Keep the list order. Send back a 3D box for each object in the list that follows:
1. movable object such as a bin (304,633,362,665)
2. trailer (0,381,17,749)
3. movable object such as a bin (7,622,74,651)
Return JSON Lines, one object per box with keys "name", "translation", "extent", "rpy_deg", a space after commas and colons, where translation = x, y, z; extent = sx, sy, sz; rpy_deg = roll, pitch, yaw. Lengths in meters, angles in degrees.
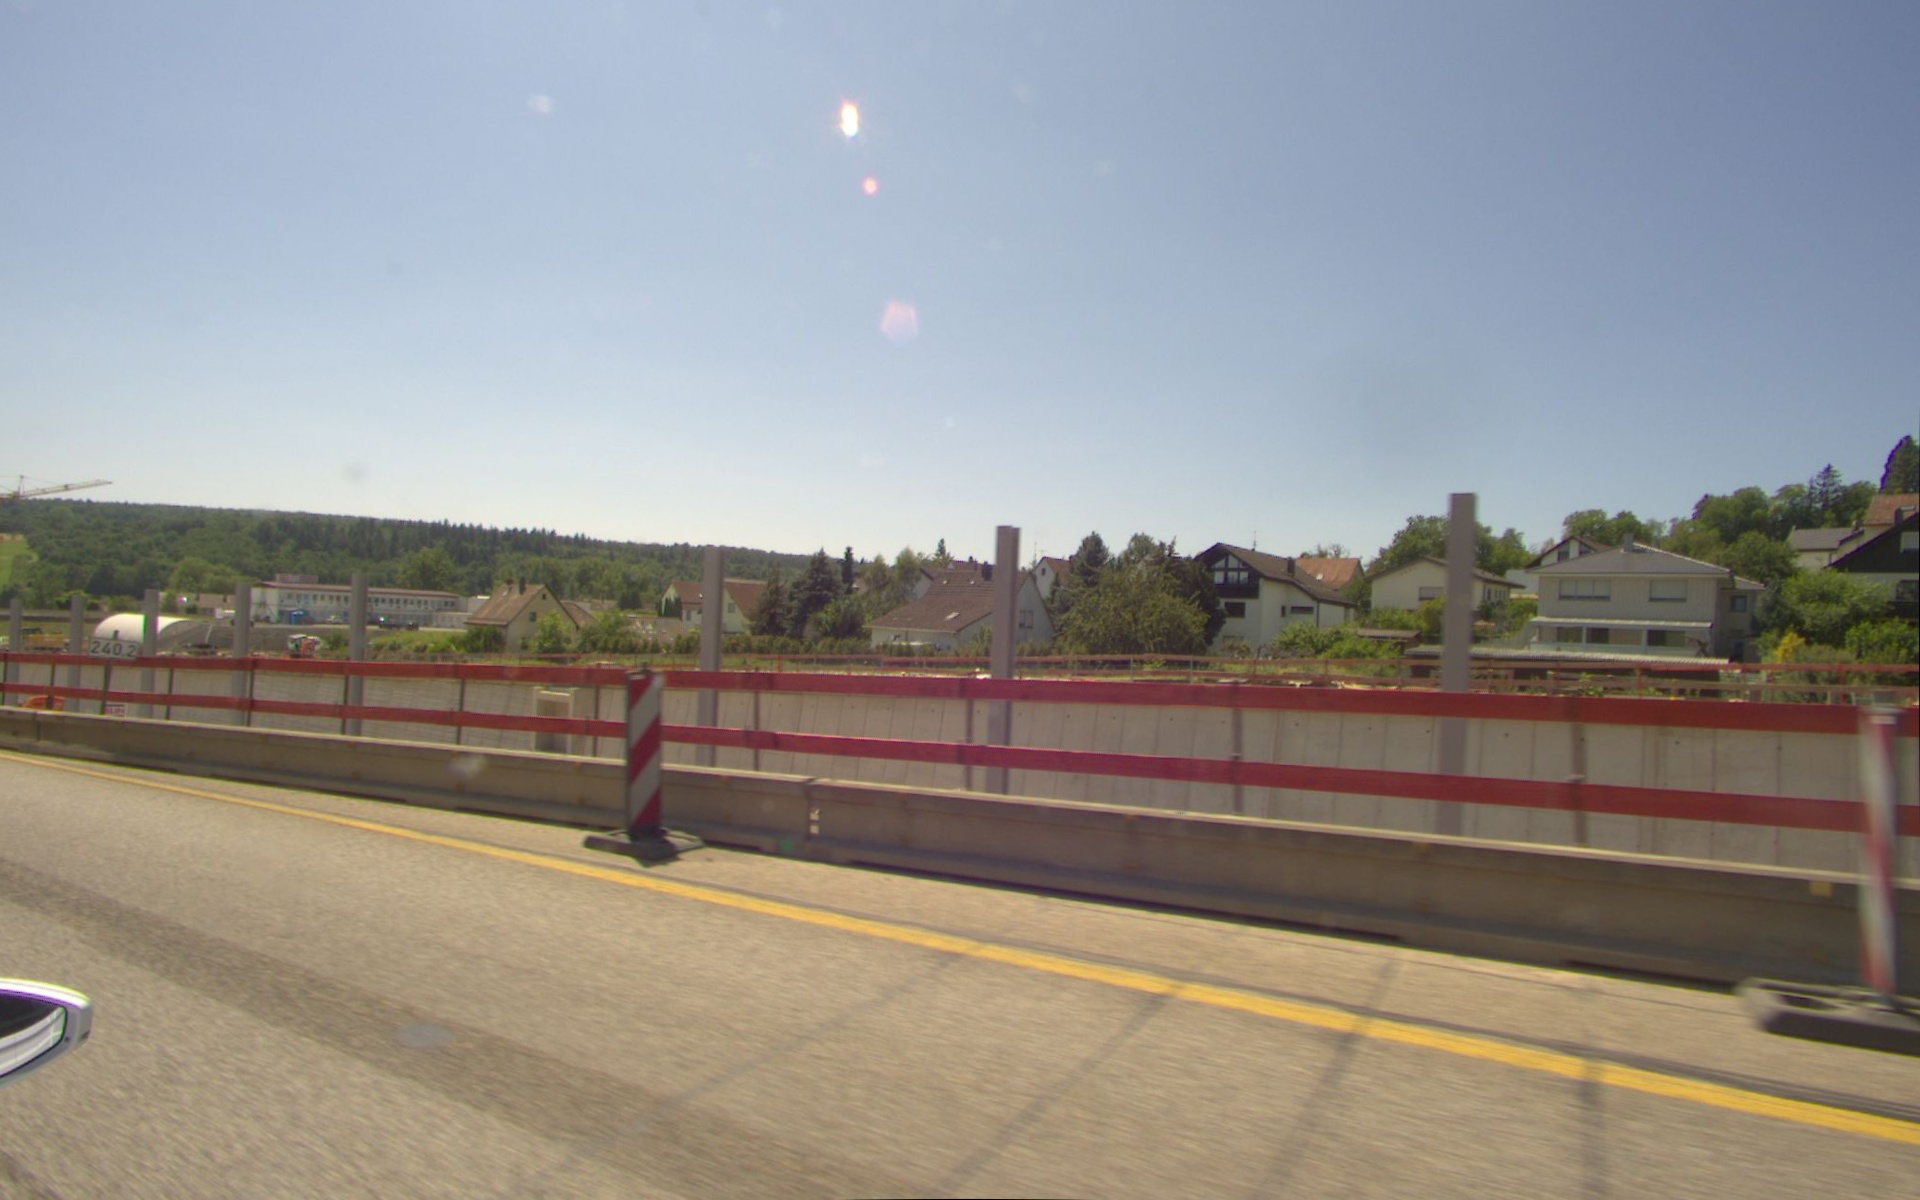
{"name": "movable object such as a bin", "translation": [-44.861, 3.469, 71.606], "extent": [4.093, 2.267, 1.990], "rpy_deg": [-1, -2, 33]}
{"name": "trailer", "translation": [-17.296, -0.268, 13.761], "extent": [13.913, 4.110, 2.797], "rpy_deg": [-1, -2, 32]}
{"name": "movable object such as a bin", "translation": [-95.624, 3.787, 104.088], "extent": [9.345, 2.946, 2.883], "rpy_deg": [-1, -2, 33]}
